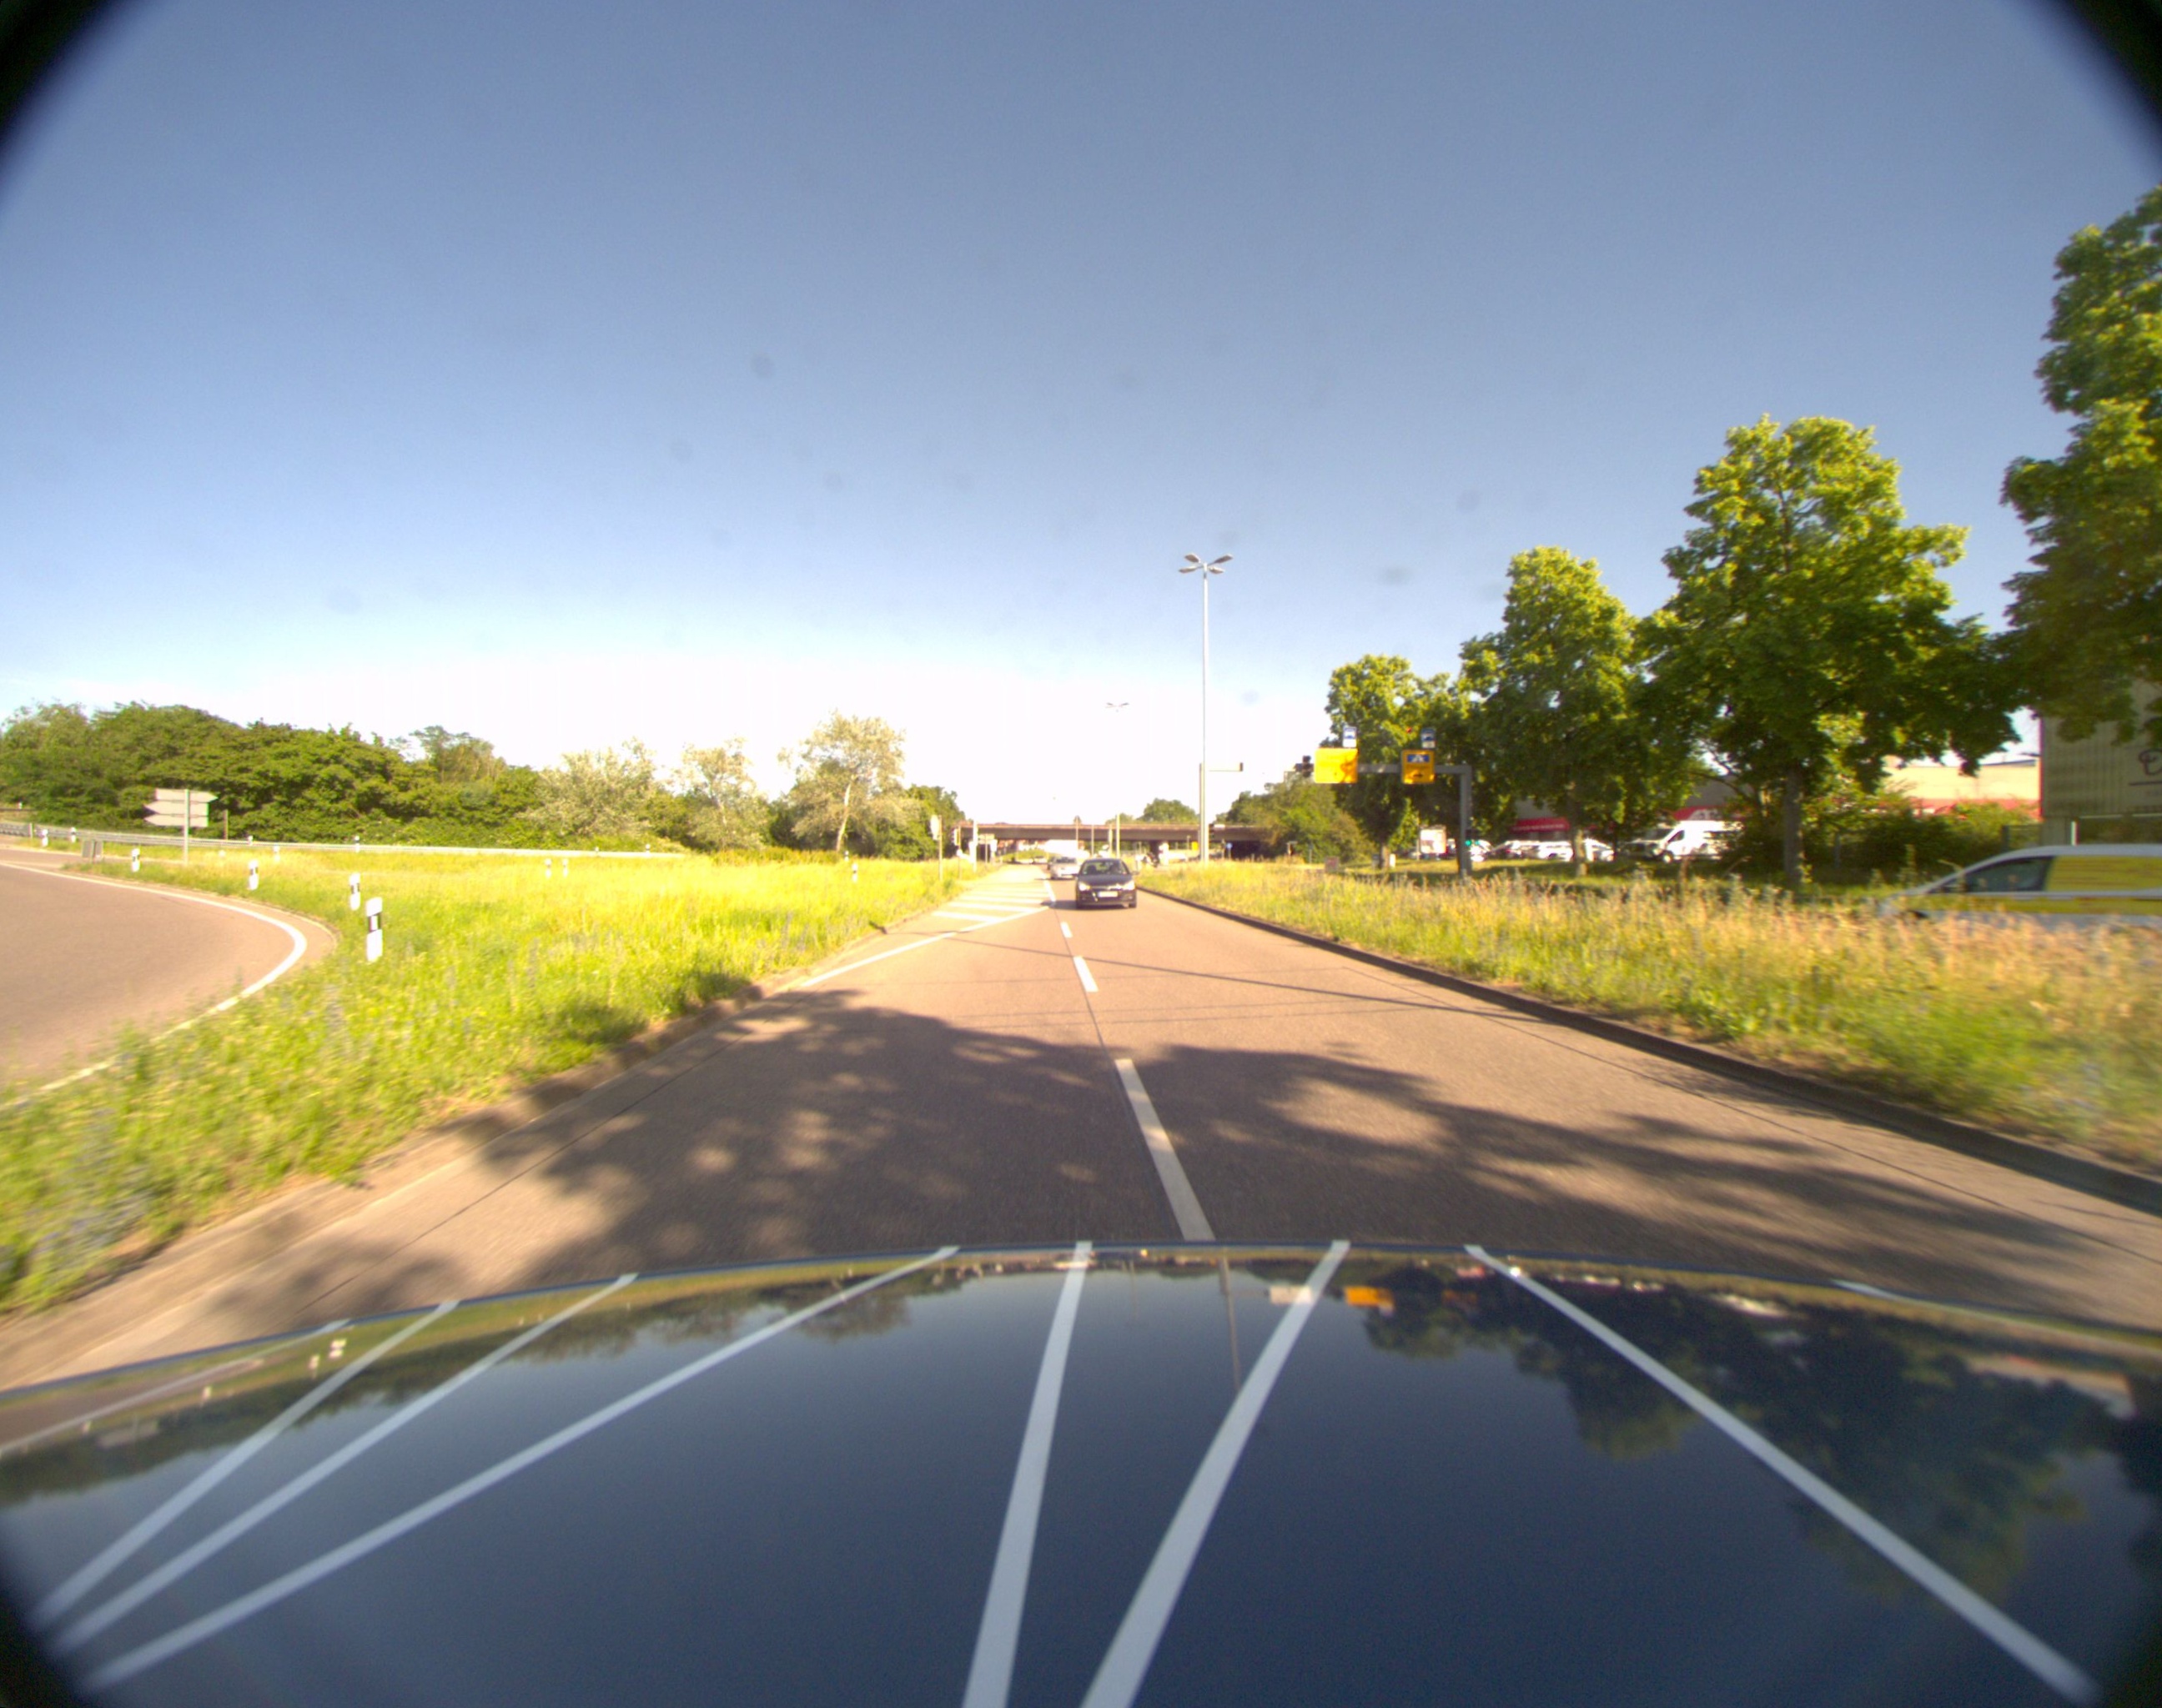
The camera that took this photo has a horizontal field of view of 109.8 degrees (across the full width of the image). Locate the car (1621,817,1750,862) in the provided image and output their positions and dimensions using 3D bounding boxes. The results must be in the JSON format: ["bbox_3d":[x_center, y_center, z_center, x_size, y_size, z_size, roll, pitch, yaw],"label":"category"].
[{"bbox_3d":[34.076,-0.791,42.912,5.895,2.419,2.205,0,1,-7],"label":"car"}]

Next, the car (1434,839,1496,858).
[{"bbox_3d":[31.976,-0.472,63.353,4.129,1.542,1.946,0,0,-1],"label":"car"}]

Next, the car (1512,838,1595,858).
[{"bbox_3d":[33.174,-0.421,53.426,4.632,1.380,1.946,0,0,-3],"label":"car"}]

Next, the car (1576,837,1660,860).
[{"bbox_3d":[33.973,-0.337,48.128,4.131,1.380,1.945,0,0,-7],"label":"car"}]

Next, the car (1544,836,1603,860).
[{"bbox_3d":[41.851,-0.527,64.711,1.784,1.945,5.129,0,0,0],"label":"car"}]

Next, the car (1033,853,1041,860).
[{"bbox_3d":[-9.414,0.505,162.530,1.628,1.428,3.278,-1,1,0],"label":"car"}]

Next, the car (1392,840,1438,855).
[{"bbox_3d":[33.904,-0.676,77.312,4.122,1.542,1.898,0,0,19],"label":"car"}]

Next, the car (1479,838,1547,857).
[{"bbox_3d":[32.939,-0.486,58.004,4.130,1.380,1.946,0,0,-4],"label":"car"}]

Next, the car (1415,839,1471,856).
[{"bbox_3d":[32.692,-0.578,68.698,4.128,1.542,1.819,0,0,1],"label":"car"}]

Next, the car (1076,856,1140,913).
[{"bbox_3d":[0.771,0.829,22.702,1.707,1.447,3.959,-2,1,1],"label":"car"}]

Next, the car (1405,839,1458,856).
[{"bbox_3d":[32.745,-0.590,71.080,4.126,1.542,1.896,0,0,7],"label":"car"}]

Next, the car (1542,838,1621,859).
[{"bbox_3d":[33.321,-0.364,50.646,4.131,1.380,1.945,0,0,-7],"label":"car"}]

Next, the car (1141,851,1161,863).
[{"bbox_3d":[9.251,0.402,100.646,1.881,1.534,4.570,1,0,-3],"label":"car"}]

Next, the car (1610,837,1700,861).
[{"bbox_3d":[34.361,-0.303,45.537,4.131,1.380,1.945,0,0,-7],"label":"car"}]

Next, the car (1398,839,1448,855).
[{"bbox_3d":[33.036,-0.633,73.509,4.125,1.542,1.897,0,0,9],"label":"car"}]

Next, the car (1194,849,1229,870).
[{"bbox_3d":[11.323,0.470,66.130,1.947,1.687,4.628,1,0,-3],"label":"car"}]

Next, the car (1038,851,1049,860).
[{"bbox_3d":[-6.554,0.226,131.364,1.827,1.528,4.040,-1,0,-3],"label":"car"}]

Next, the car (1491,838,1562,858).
[{"bbox_3d":[32.597,-0.439,55.684,4.131,1.380,1.945,0,0,-7],"label":"car"}]

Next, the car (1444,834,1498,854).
[{"bbox_3d":[43.989,-1.085,85.820,1.899,2.139,5.033,0,0,-35],"label":"car"}]

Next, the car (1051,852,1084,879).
[{"bbox_3d":[-0.873,0.687,46.974,1.827,1.528,4.040,-1,1,-3],"label":"car"}]

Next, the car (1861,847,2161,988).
[{"bbox_3d":[14.203,0.783,10.831,1.711,1.736,4.164,-1,0,-4],"label":"car"}]
